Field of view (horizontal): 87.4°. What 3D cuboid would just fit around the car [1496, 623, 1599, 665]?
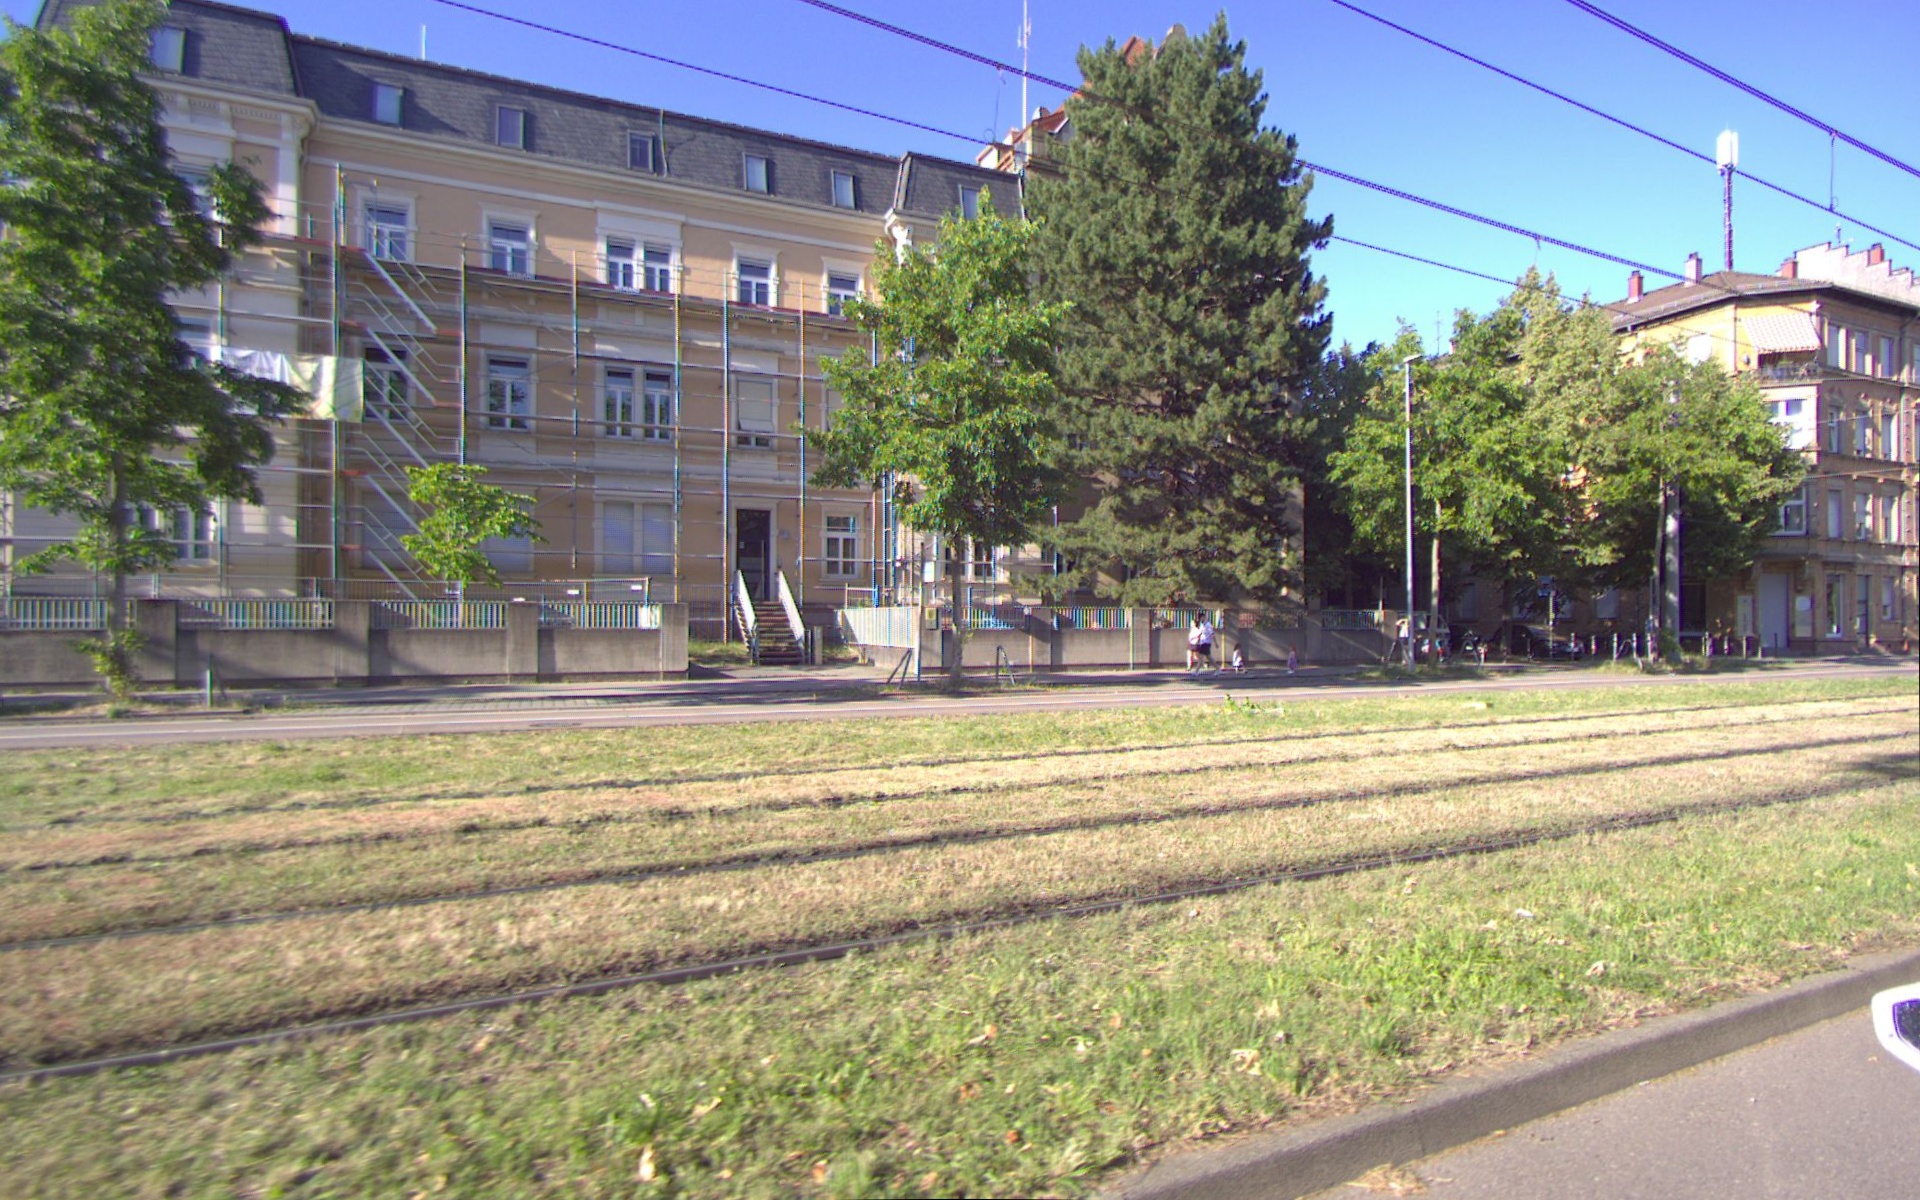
[{"bbox_3d":[23.639,1.744,40.594,1.960,1.491,4.194,1,0,5],"label":"car"}]

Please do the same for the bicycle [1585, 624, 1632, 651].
[{"bbox_3d":[29.994,1.732,46.473,2.211,1.194,0.782,1,1,-26],"label":"bicycle"}]

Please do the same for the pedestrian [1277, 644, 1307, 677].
[{"bbox_3d":[9.790,1.782,29.616,0.576,0.944,0.649,0,-2,-19],"label":"pedestrian"}]

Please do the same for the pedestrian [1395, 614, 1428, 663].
[{"bbox_3d":[15.275,1.289,33.982,0.787,1.614,0.616,1,1,-26],"label":"pedestrian"}]

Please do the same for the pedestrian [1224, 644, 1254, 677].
[{"bbox_3d":[8.131,1.747,29.270,0.645,0.944,0.580,1,-2,-33],"label":"pedestrian"}]

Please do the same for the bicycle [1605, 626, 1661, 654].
[{"bbox_3d":[30.346,1.788,45.279,2.201,1.194,0.786,1,1,-12],"label":"bicycle"}]

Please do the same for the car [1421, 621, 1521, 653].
[{"bbox_3d":[25.653,1.834,50.554,1.974,1.491,4.164,1,0,-26],"label":"car"}]

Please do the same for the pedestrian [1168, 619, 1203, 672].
[{"bbox_3d":[6.708,1.354,29.835,0.772,1.560,0.648,1,-2,-25],"label":"pedestrian"}]

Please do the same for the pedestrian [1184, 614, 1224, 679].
[{"bbox_3d":[6.837,1.295,28.148,0.876,1.799,0.648,1,-2,-25],"label":"pedestrian"}]

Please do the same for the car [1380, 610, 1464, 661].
[{"bbox_3d":[20.516,1.505,44.838,1.960,2.041,4.616,1,1,5],"label":"car"}]

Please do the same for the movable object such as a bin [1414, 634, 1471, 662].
[{"bbox_3d":[16.354,1.630,34.055,1.220,0.876,1.241,1,1,-26],"label":"movable object such as a bin"}]
